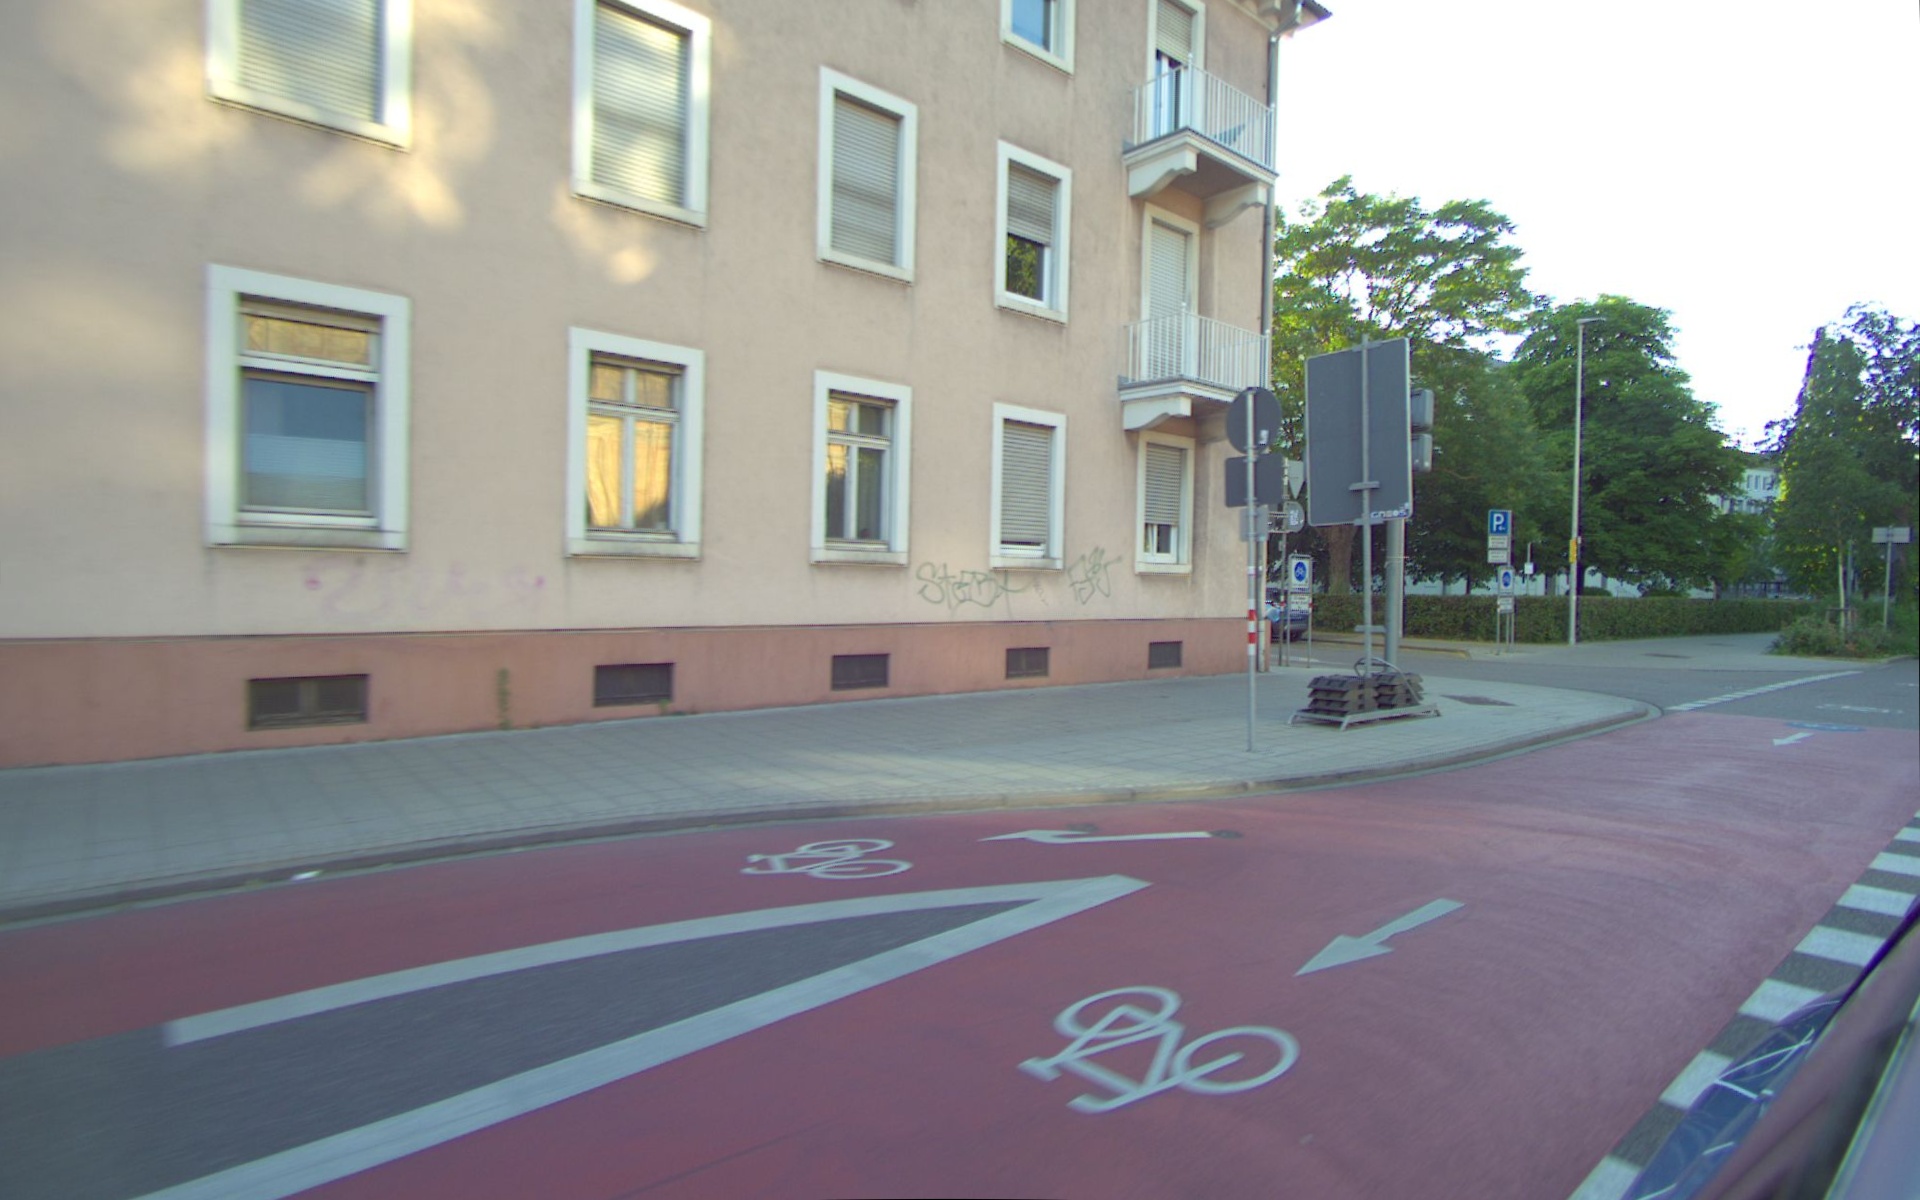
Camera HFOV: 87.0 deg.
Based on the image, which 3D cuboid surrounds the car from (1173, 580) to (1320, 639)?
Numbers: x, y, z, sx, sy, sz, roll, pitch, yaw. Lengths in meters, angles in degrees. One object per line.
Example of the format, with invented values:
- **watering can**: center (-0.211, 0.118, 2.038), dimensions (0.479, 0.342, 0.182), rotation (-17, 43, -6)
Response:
- **car**: center (8.562, 0.234, 30.535), dimensions (1.839, 1.600, 3.927), rotation (0, 1, -38)
